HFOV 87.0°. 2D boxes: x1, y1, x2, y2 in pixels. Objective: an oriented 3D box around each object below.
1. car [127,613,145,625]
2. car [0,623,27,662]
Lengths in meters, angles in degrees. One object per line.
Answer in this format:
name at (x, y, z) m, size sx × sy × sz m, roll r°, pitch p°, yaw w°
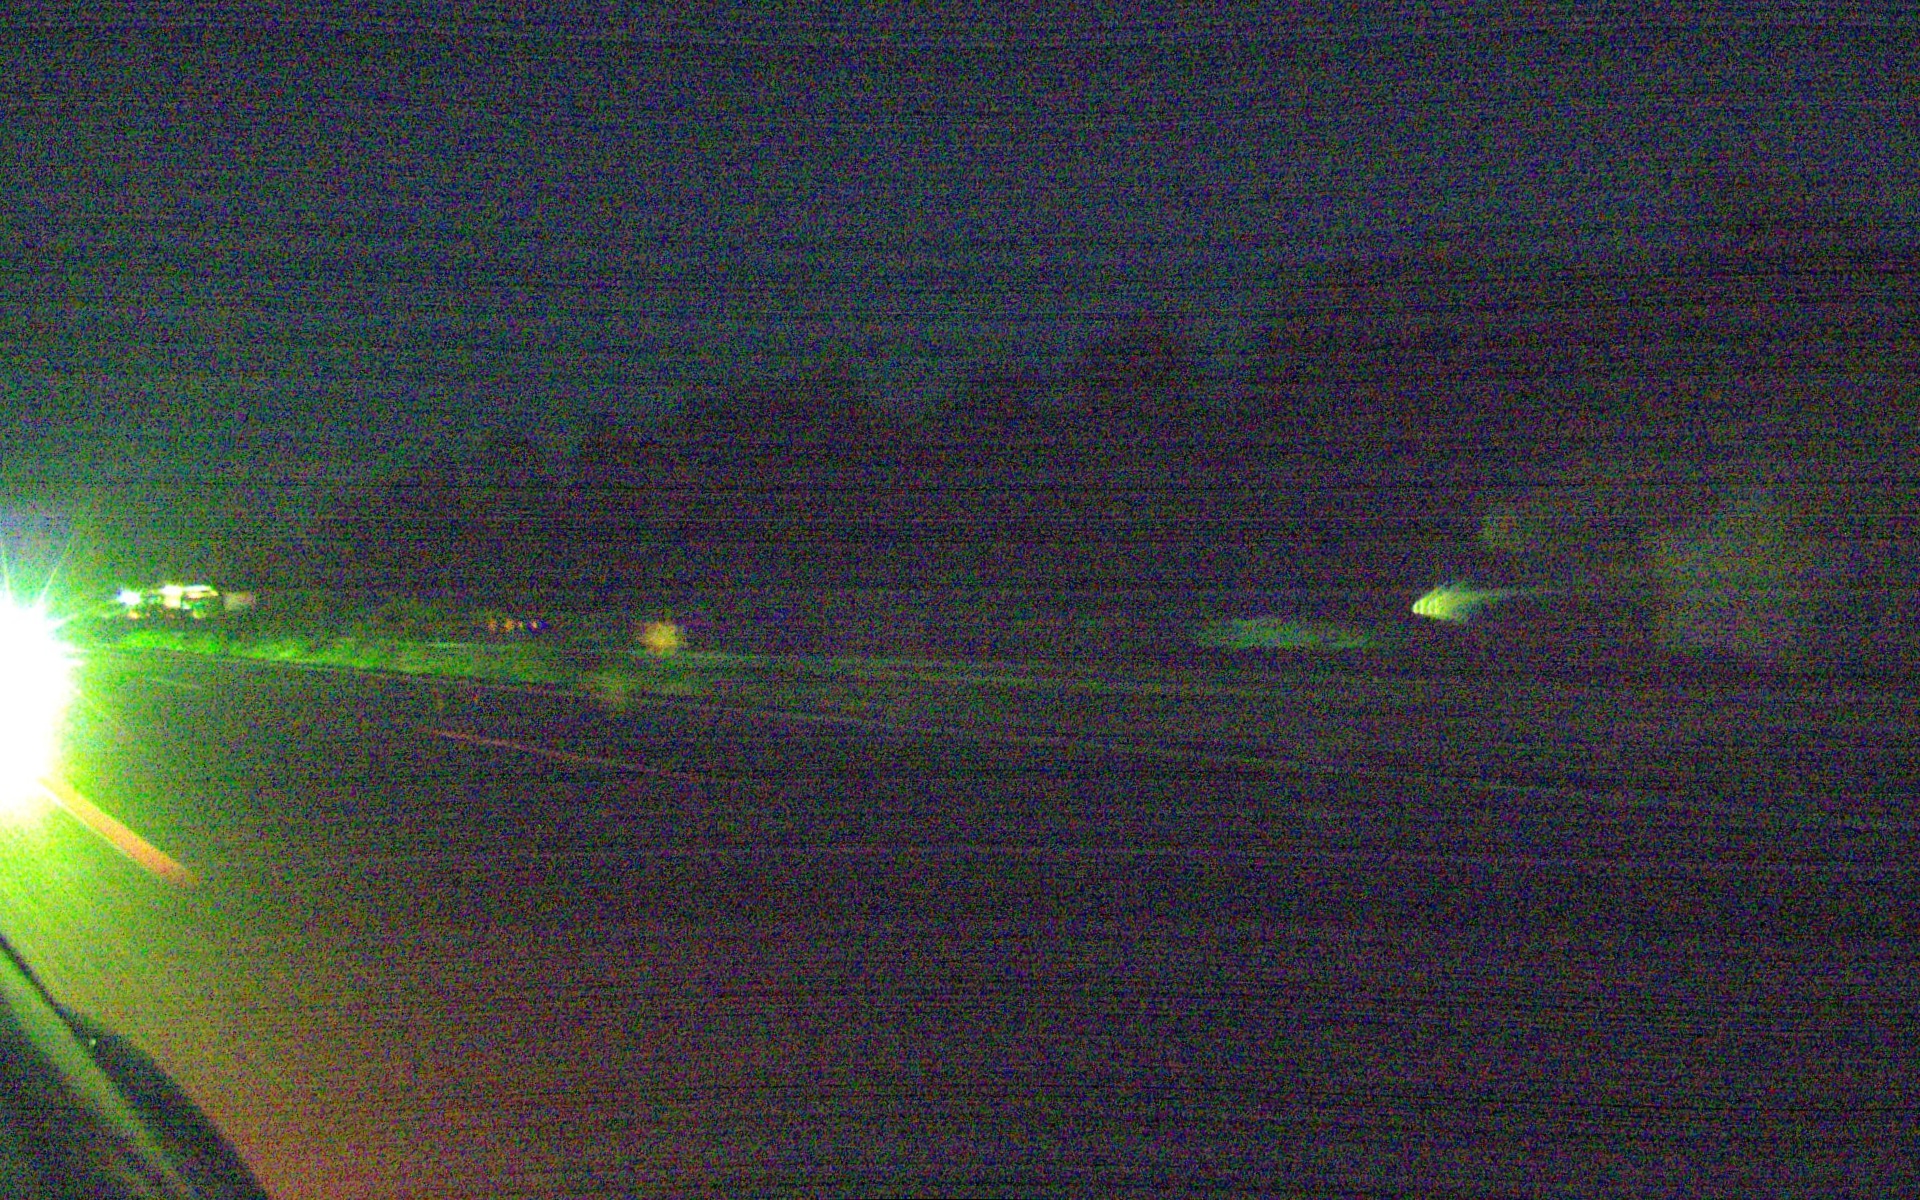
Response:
car at (-135.018, 3.118, 165.858) m, size 1.970 × 1.868 × 4.079 m, roll 1°, pitch -1°, yaw -45°
car at (-38.241, 1.669, 40.027) m, size 1.806 × 1.423 × 4.006 m, roll -1°, pitch 0°, yaw -40°
